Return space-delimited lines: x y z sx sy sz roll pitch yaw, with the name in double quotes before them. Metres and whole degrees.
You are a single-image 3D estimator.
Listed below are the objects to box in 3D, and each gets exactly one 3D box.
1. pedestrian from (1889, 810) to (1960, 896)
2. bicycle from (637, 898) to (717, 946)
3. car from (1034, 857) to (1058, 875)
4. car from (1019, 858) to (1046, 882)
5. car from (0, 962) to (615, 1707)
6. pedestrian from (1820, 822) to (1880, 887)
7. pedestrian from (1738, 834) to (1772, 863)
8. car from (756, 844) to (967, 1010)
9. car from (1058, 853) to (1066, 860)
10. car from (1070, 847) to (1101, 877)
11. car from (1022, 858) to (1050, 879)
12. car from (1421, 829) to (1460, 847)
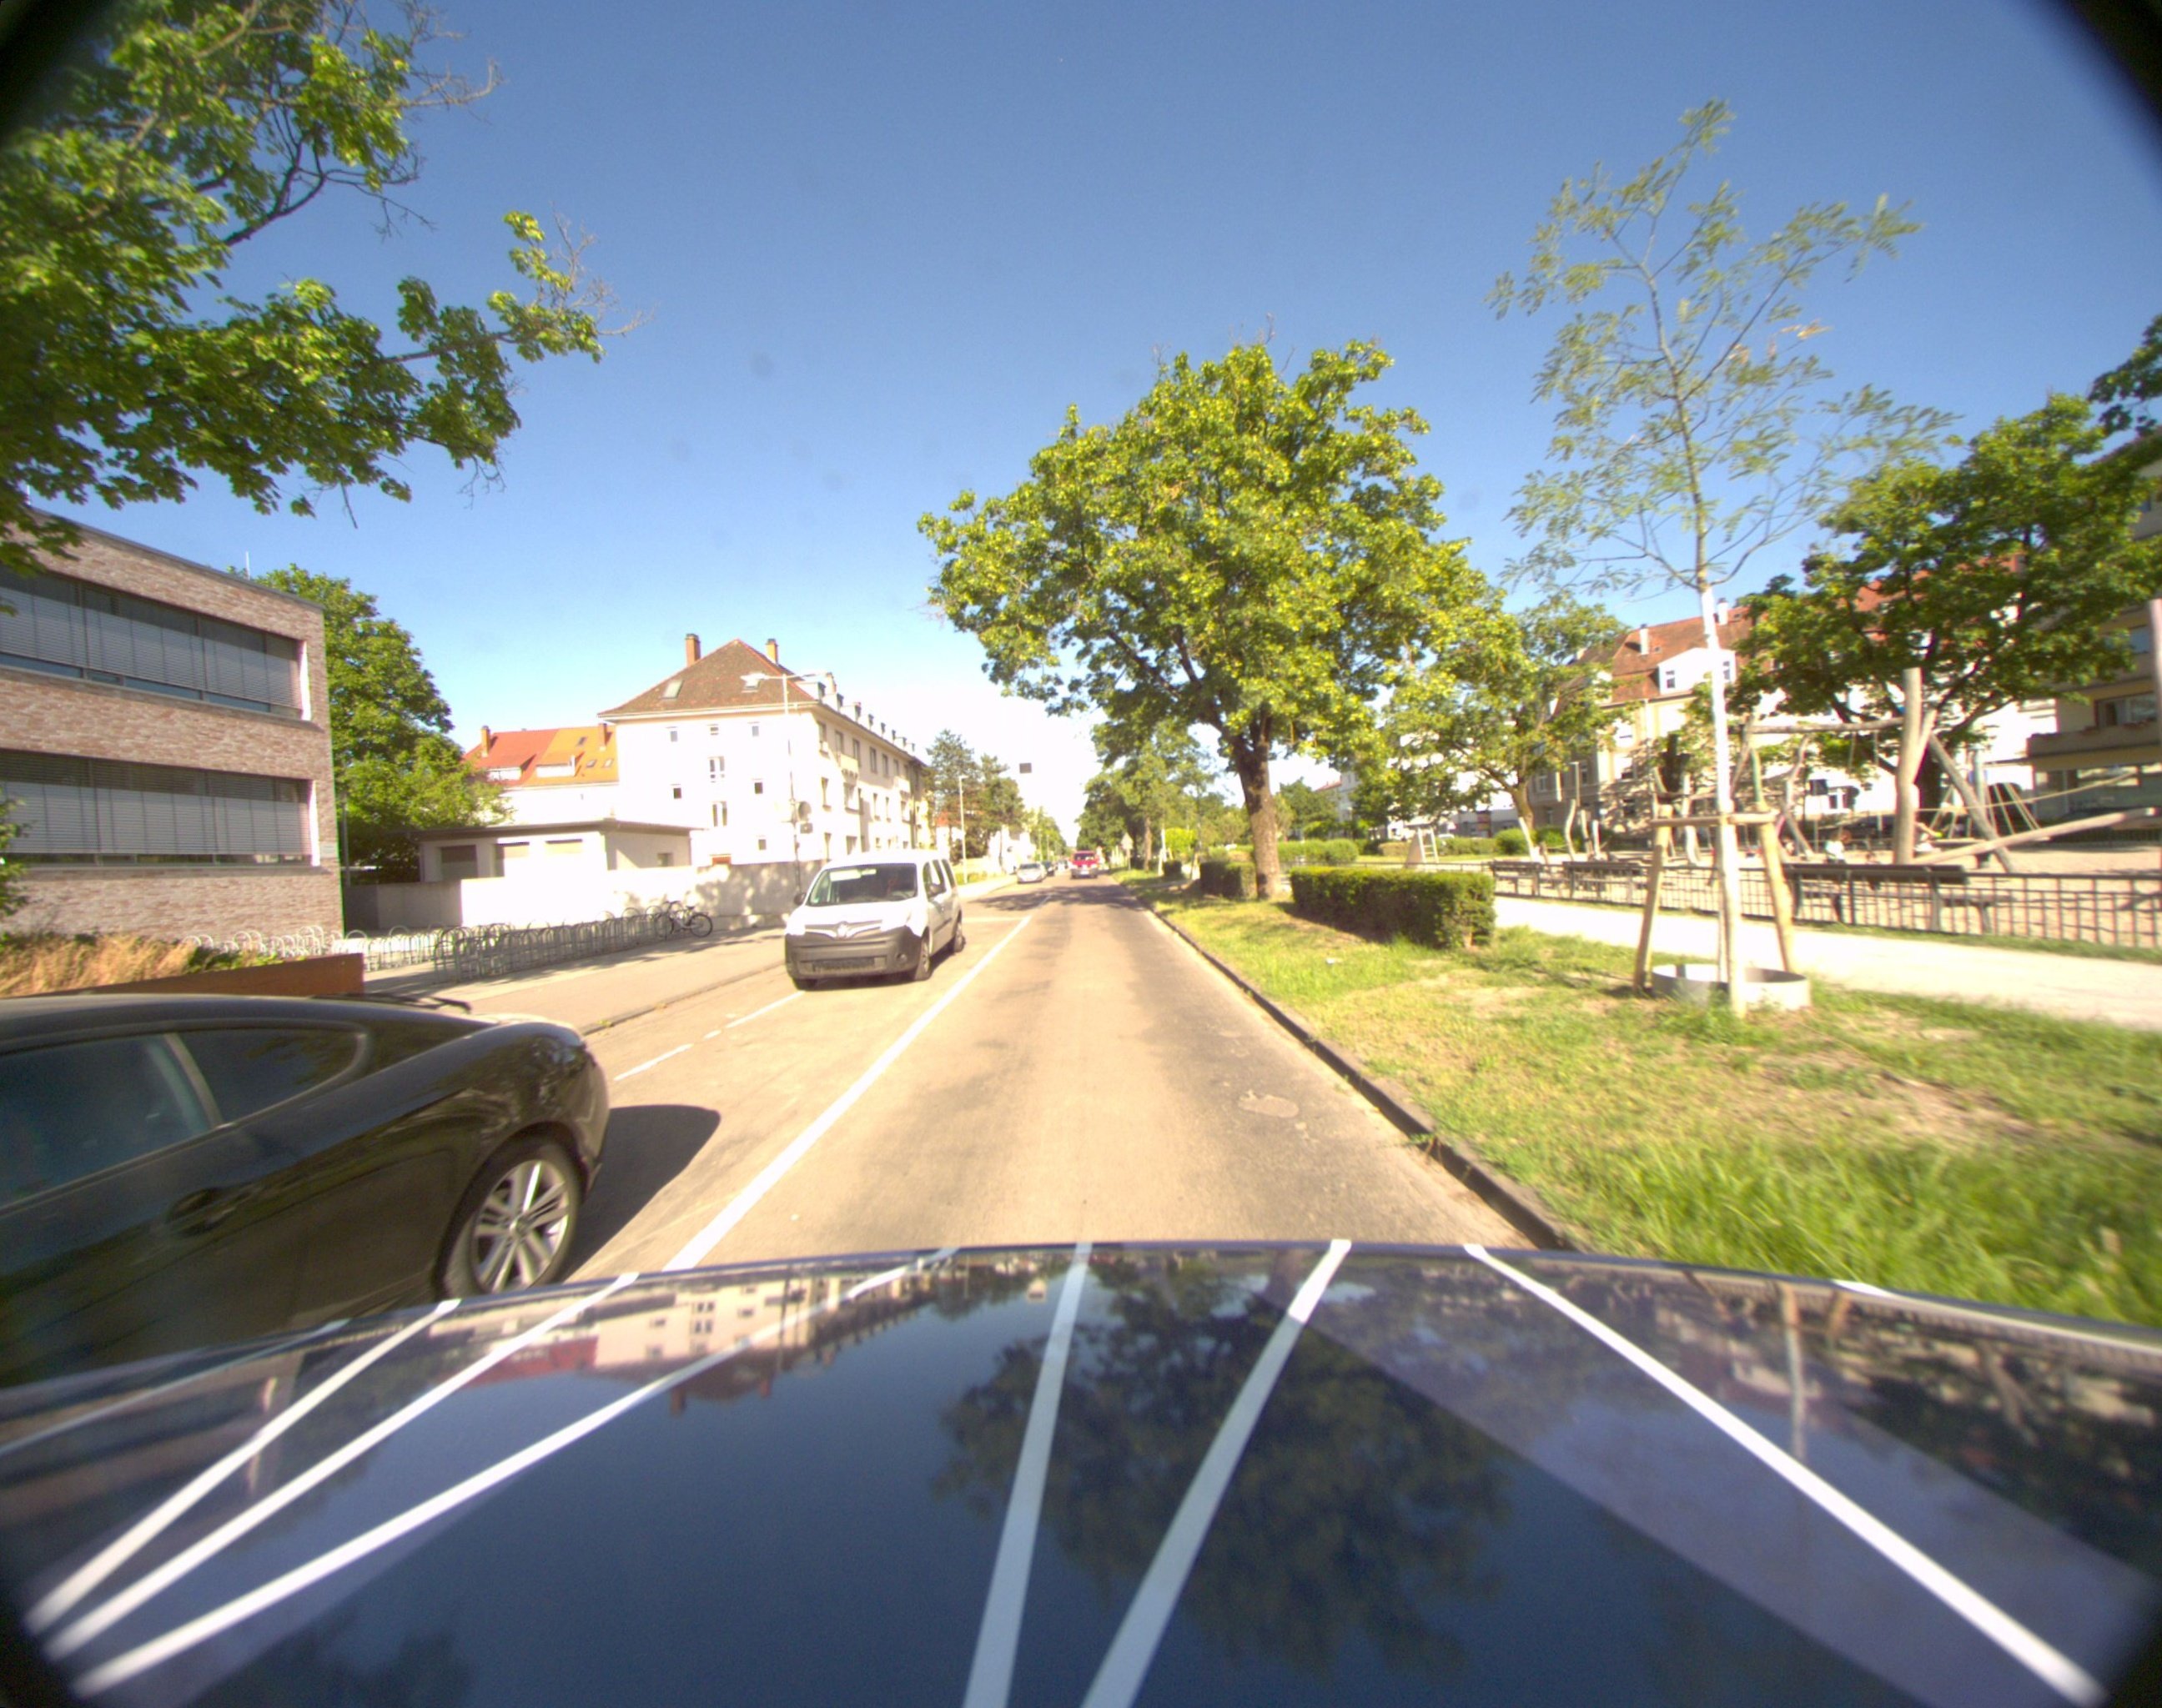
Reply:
"pedestrian" 16.728 -0.018 15.084 0.649 1.651 0.651 -3 1 19
"bicycle" -10.302 1.727 19.399 1.673 1.024 0.500 -5 1 -1
"car" -3.150 1.075 69.431 1.799 1.501 3.994 -5 0 1
"car" -3.360 1.075 52.811 1.664 1.456 4.410 -5 0 -3
"car" -2.895 1.176 1.166 1.706 1.317 4.129 -4 0 0
"pedestrian" 16.501 0.008 16.315 0.649 1.321 0.651 -3 1 19
"pedestrian" 24.130 -0.196 27.221 0.542 0.973 0.778 -3 0 8
"car" -2.987 0.887 11.432 1.812 1.897 4.461 -4 0 -1
"car" -4.619 0.508 182.067 1.799 1.529 4.001 -3 -1 0
"car" 0.319 0.595 55.028 2.092 2.000 4.844 -2 0 0
"car" -3.499 1.134 59.495 1.799 1.412 4.288 -5 0 1
"car" 36.809 -1.588 77.947 1.799 1.625 4.587 -3 0 1
